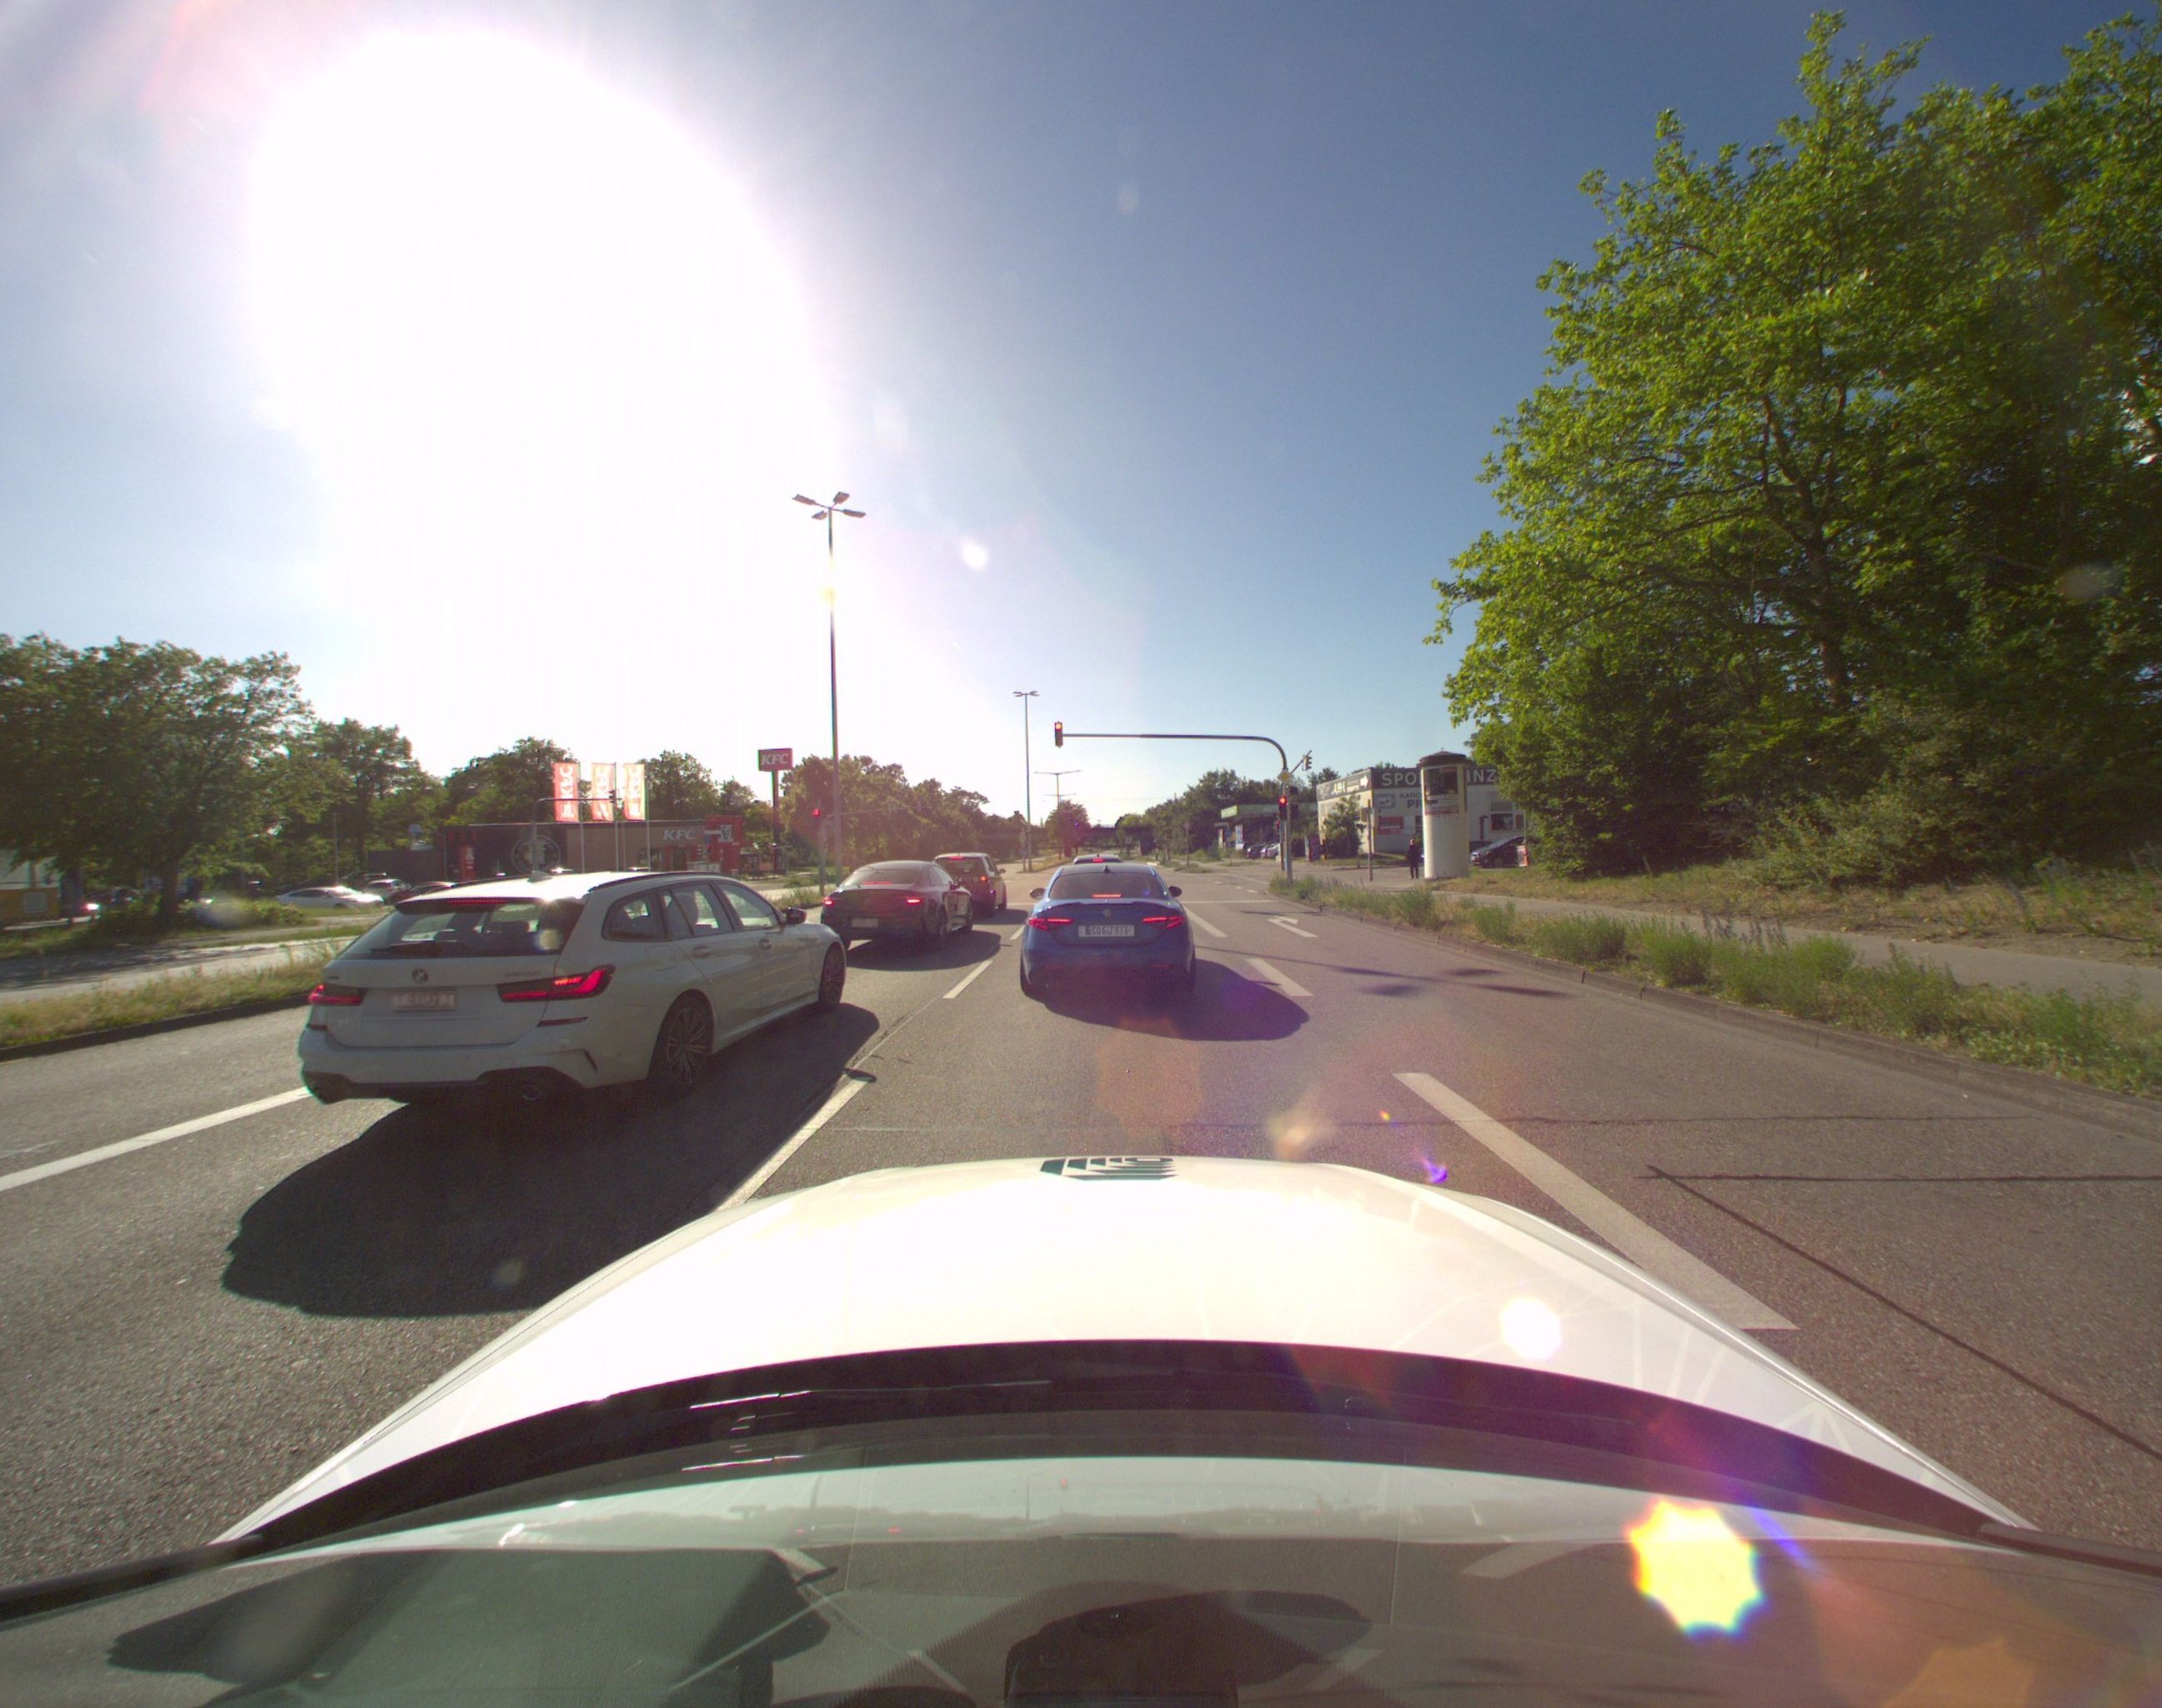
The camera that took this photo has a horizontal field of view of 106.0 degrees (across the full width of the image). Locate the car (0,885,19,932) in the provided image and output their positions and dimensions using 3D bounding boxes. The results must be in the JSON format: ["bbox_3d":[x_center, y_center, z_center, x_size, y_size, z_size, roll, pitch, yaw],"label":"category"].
[{"bbox_3d":[-34.138,1.661,23.344,1.981,1.442,4.012,0,-1,11],"label":"car"}]

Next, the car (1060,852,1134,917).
[{"bbox_3d":[0.492,0.714,20.549,1.696,1.497,3.722,0,-1,4],"label":"car"}]

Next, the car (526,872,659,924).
[{"bbox_3d":[-18.450,1.607,31.020,1.790,1.726,4.338,-1,0,13],"label":"car"}]

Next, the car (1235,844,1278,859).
[{"bbox_3d":[18.657,-0.223,86.502,3.995,1.552,1.989,0,-1,-16],"label":"car"}]

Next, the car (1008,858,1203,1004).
[{"bbox_3d":[0.353,0.769,9.816,1.901,1.423,3.722,0,-1,3],"label":"car"}]

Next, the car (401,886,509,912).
[{"bbox_3d":[-32.012,2.292,41.718,4.070,1.252,1.871,0,-1,0],"label":"car"}]

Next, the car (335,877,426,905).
[{"bbox_3d":[-41.796,2.191,48.668,3.743,1.559,2.002,0,-1,4],"label":"car"}]

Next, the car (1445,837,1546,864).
[{"bbox_3d":[23.192,-0.175,45.644,4.803,1.468,1.758,0,-1,0],"label":"car"}]

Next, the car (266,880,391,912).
[{"bbox_3d":[-38.923,2.162,42.212,4.608,1.579,1.936,0,-1,0],"label":"car"}]

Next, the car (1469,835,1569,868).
[{"bbox_3d":[22.523,-0.136,42.011,4.291,1.650,1.638,0,-1,1],"label":"car"}]

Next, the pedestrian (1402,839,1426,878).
[{"bbox_3d":[14.353,0.189,35.098,0.814,1.669,0.514,0,-1,1],"label":"pedestrian"}]

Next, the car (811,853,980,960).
[{"bbox_3d":[-3.029,0.775,14.332,1.805,1.551,4.544,-1,0,1],"label":"car"}]

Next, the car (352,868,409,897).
[{"bbox_3d":[-46.614,1.877,54.279,2.004,1.813,3.739,0,-1,-27],"label":"car"}]

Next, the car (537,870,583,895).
[{"bbox_3d":[-37.183,1.997,58.073,1.946,1.740,4.046,0,-1,-45],"label":"car"}]

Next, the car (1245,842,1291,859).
[{"bbox_3d":[17.838,-0.301,77.894,3.971,1.552,2.001,0,-1,2],"label":"car"}]

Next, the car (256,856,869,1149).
[{"bbox_3d":[-3.306,0.780,6.531,1.805,1.486,4.599,0,0,2],"label":"car"}]

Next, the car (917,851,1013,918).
[{"bbox_3d":[-2.869,0.729,21.084,1.806,1.551,4.353,0,-1,0],"label":"car"}]
